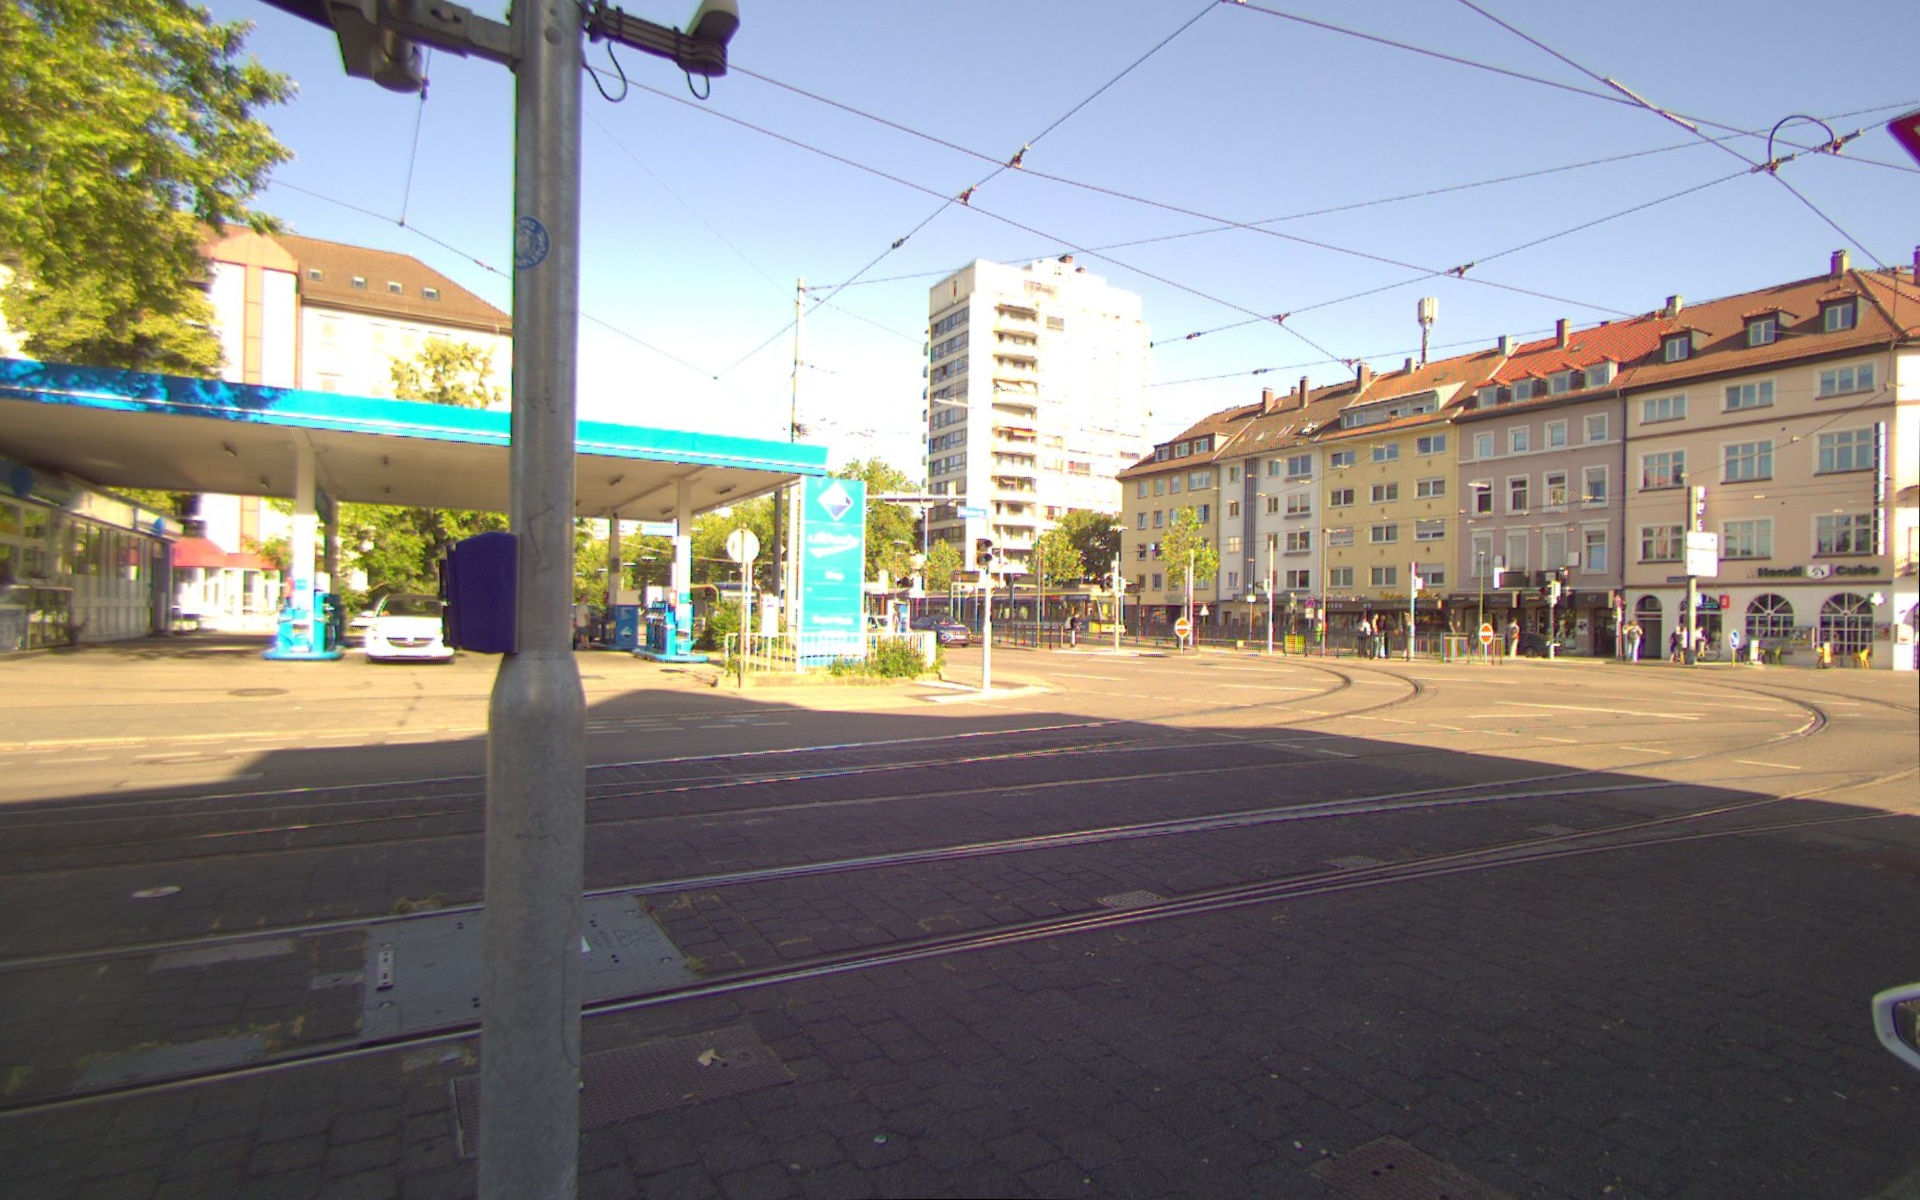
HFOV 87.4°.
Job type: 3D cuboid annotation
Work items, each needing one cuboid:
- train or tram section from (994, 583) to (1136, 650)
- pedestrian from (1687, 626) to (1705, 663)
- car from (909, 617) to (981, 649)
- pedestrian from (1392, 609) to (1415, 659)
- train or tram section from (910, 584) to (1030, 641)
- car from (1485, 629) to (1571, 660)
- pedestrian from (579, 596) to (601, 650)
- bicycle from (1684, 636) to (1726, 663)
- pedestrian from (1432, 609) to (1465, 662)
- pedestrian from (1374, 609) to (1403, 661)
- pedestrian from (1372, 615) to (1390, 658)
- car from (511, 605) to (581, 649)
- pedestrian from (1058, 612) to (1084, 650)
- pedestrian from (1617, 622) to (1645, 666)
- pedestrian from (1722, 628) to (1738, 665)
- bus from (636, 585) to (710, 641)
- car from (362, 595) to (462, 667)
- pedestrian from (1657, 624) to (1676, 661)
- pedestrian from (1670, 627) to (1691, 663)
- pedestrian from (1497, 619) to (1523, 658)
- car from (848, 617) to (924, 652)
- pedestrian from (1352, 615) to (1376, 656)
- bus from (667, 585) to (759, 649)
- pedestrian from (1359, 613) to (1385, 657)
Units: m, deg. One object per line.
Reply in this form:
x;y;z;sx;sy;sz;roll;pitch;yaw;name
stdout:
6.645;0.972;66.190;2.926;3.986;11.589;2;0;-30;train or tram section
34.468;2.071;47.060;0.617;1.704;0.741;0;-1;31;pedestrian
-0.779;1.535;47.864;1.697;1.439;4.149;1;-1;-28;car
16.457;1.253;37.298;0.553;1.810;0.557;1;-1;-30;pedestrian
0.467;0.837;76.752;2.926;3.986;12.850;2;0;-30;train or tram section
30.921;2.411;54.772;1.795;1.511;3.715;2;0;-27;car
-11.826;0.736;32.098;0.579;1.715;0.756;1;-1;-25;pedestrian
37.713;2.478;50.857;1.693;1.293;0.385;0;-1;44;bicycle
17.498;1.257;35.985;0.714;1.853;0.763;1;-1;-30;pedestrian
15.662;1.284;36.743;0.769;1.874;0.625;1;-1;-30;pedestrian
15.668;1.349;37.415;0.447;1.571;0.425;1;-1;-30;pedestrian
-13.583;0.856;32.873;1.697;1.360;3.970;1;-1;-28;car
4.843;1.344;43.848;0.788;1.632;0.766;1;-1;-37;pedestrian
26.597;1.737;39.831;0.621;1.704;0.737;1;-1;-30;pedestrian
26.949;1.634;35.154;0.447;1.270;0.361;1;-1;-41;pedestrian
-19.312;0.747;67.245;2.755;3.504;8.571;0;1;-30;bus
-12.363;0.669;22.552;1.793;1.461;3.966;1;-1;-31;car
33.898;2.030;48.170;0.731;1.704;0.626;0;-1;35;pedestrian
35.512;2.208;49.520;0.623;1.704;0.734;1;-1;-41;pedestrian
24.177;1.685;44.144;0.621;1.704;0.763;1;-1;-30;pedestrian
-3.490;1.573;46.777;1.724;1.518;3.929;1;-1;-35;car
15.791;1.376;39.269;0.553;1.602;0.695;1;-1;-30;pedestrian
-14.777;0.887;59.496;2.748;3.504;9.364;0;1;-31;bus
15.635;1.327;38.109;0.565;1.657;0.737;1;-1;-30;pedestrian
